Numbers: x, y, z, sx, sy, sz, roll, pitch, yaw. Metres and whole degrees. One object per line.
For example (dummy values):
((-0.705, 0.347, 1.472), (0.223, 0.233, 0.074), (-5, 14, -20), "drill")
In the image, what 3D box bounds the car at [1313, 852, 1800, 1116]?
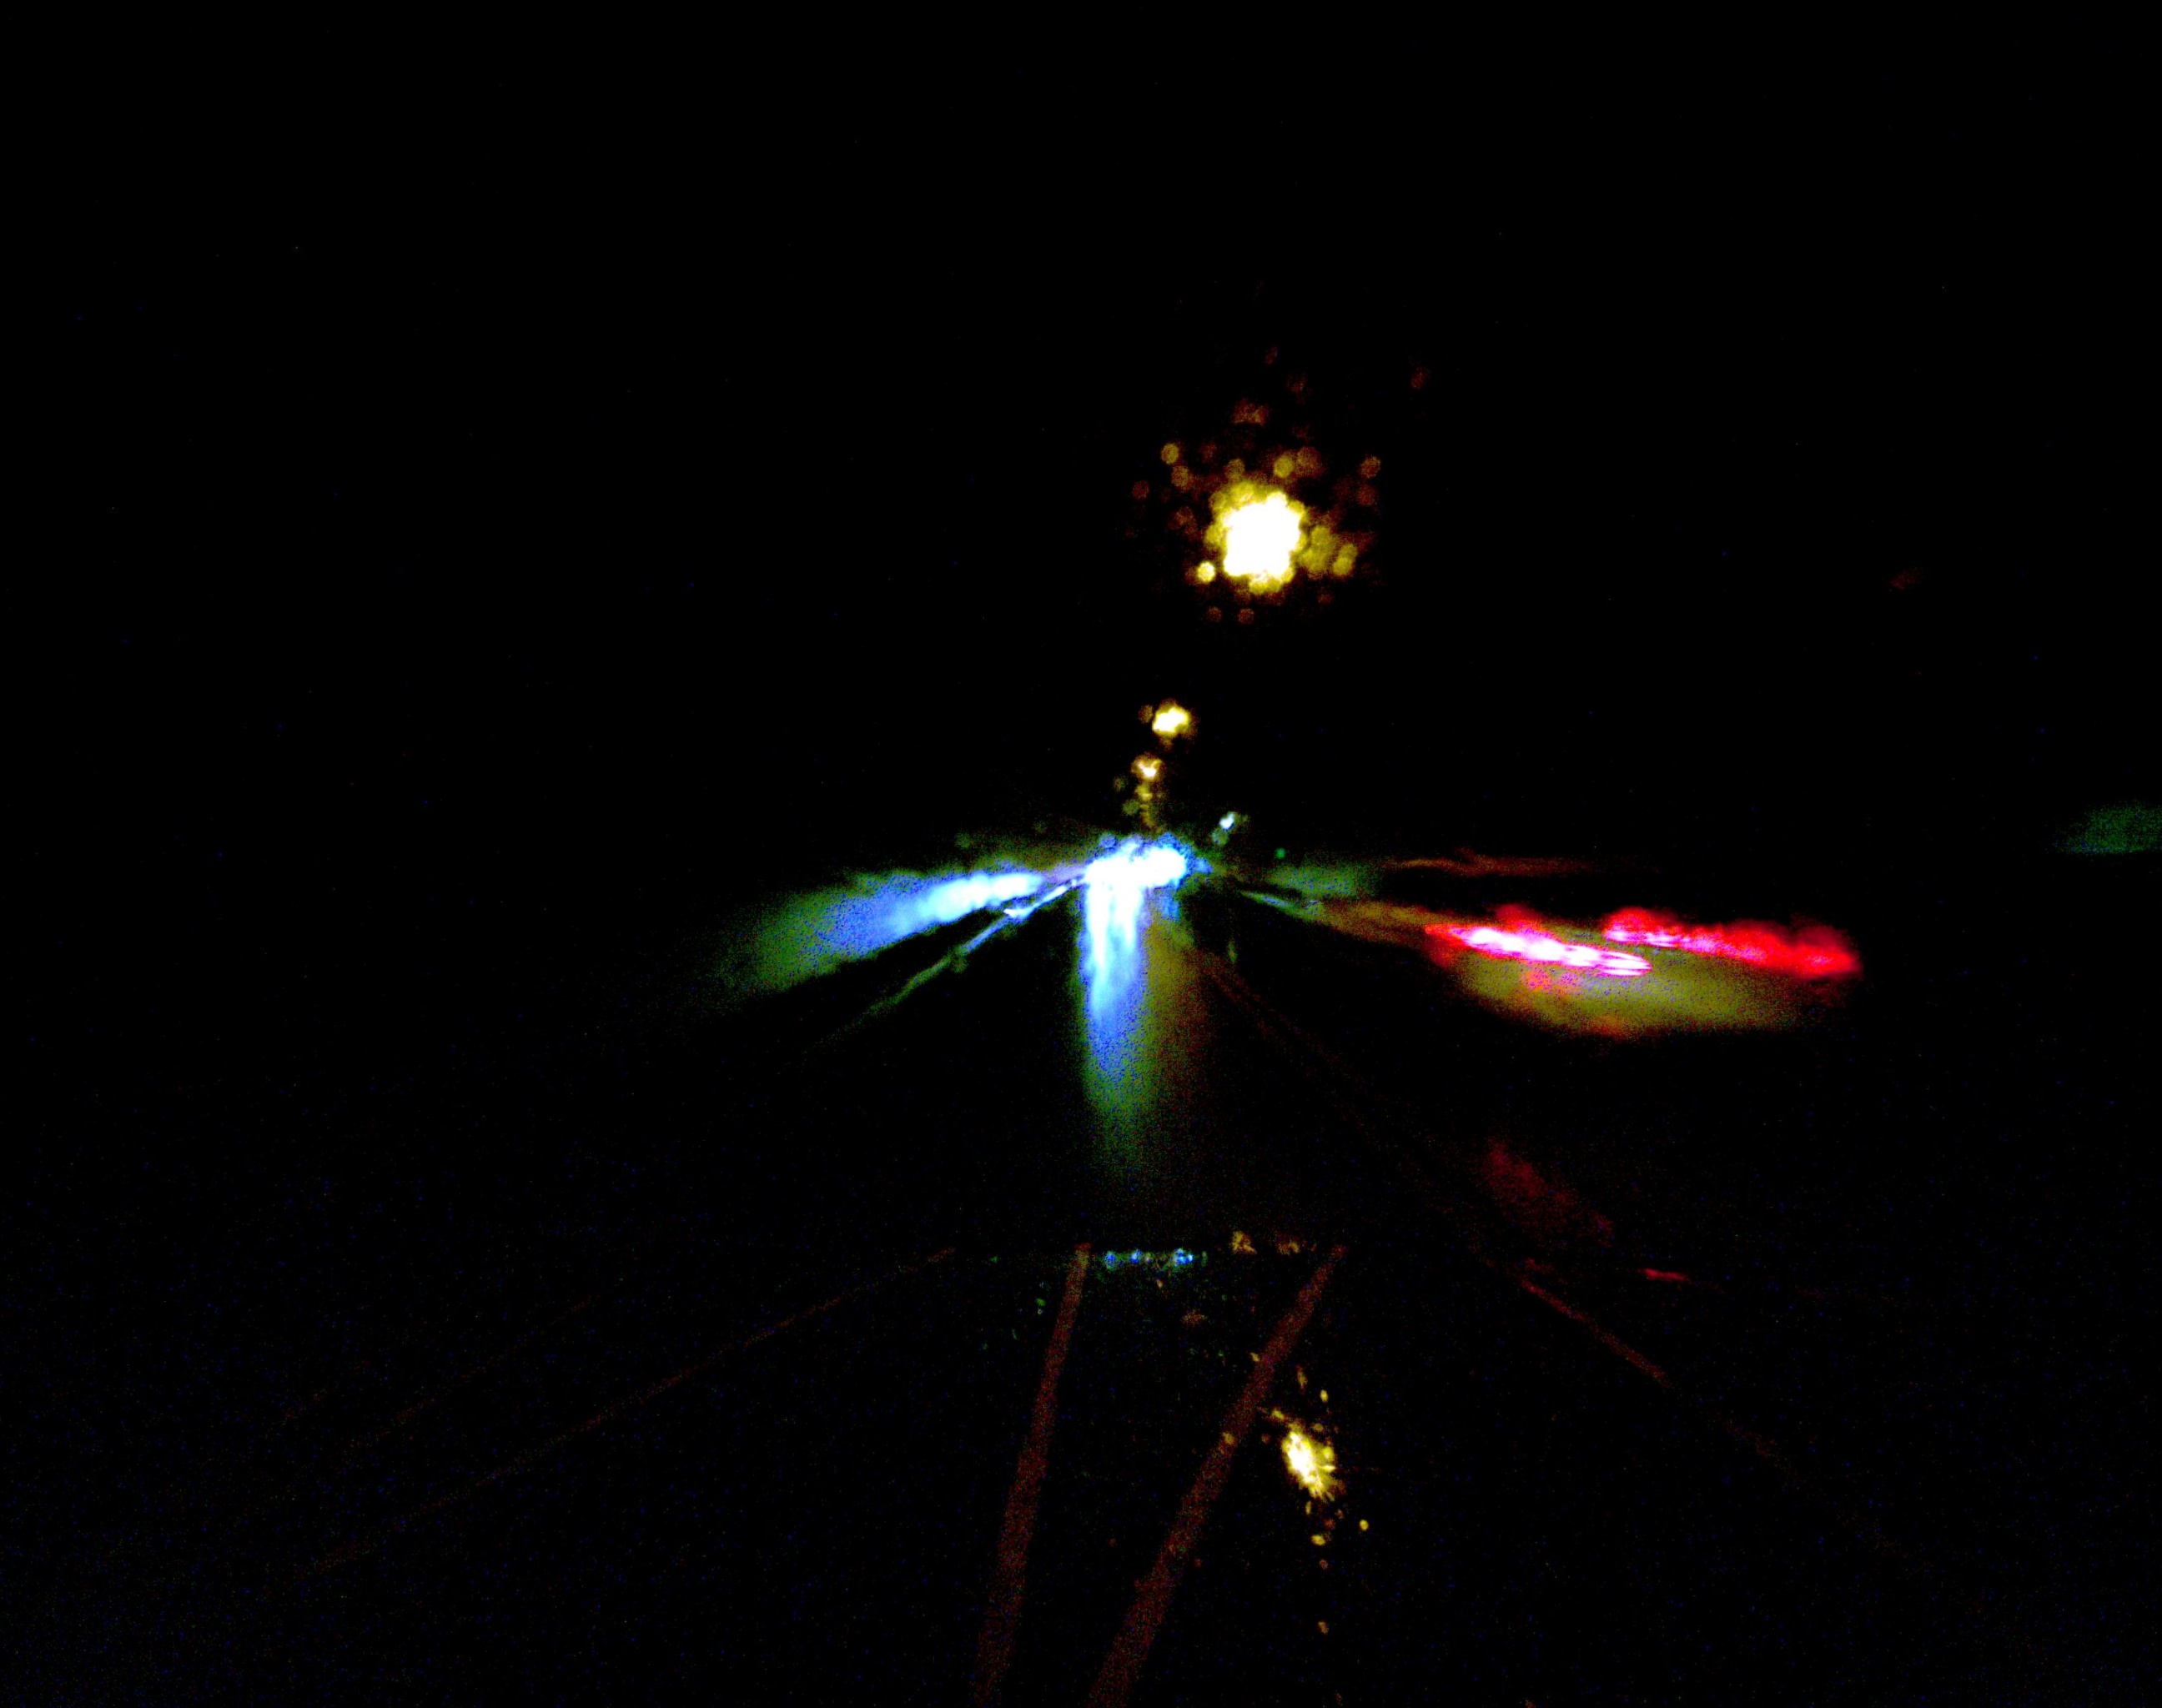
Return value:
((3.479, 0.774, 6.606), (1.625, 1.508, 4.137), (-2, 0, 0), "car")

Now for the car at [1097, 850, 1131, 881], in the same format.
((2.015, 0.665, 44.989), (1.729, 1.595, 4.001), (-4, 1, 5), "car")
